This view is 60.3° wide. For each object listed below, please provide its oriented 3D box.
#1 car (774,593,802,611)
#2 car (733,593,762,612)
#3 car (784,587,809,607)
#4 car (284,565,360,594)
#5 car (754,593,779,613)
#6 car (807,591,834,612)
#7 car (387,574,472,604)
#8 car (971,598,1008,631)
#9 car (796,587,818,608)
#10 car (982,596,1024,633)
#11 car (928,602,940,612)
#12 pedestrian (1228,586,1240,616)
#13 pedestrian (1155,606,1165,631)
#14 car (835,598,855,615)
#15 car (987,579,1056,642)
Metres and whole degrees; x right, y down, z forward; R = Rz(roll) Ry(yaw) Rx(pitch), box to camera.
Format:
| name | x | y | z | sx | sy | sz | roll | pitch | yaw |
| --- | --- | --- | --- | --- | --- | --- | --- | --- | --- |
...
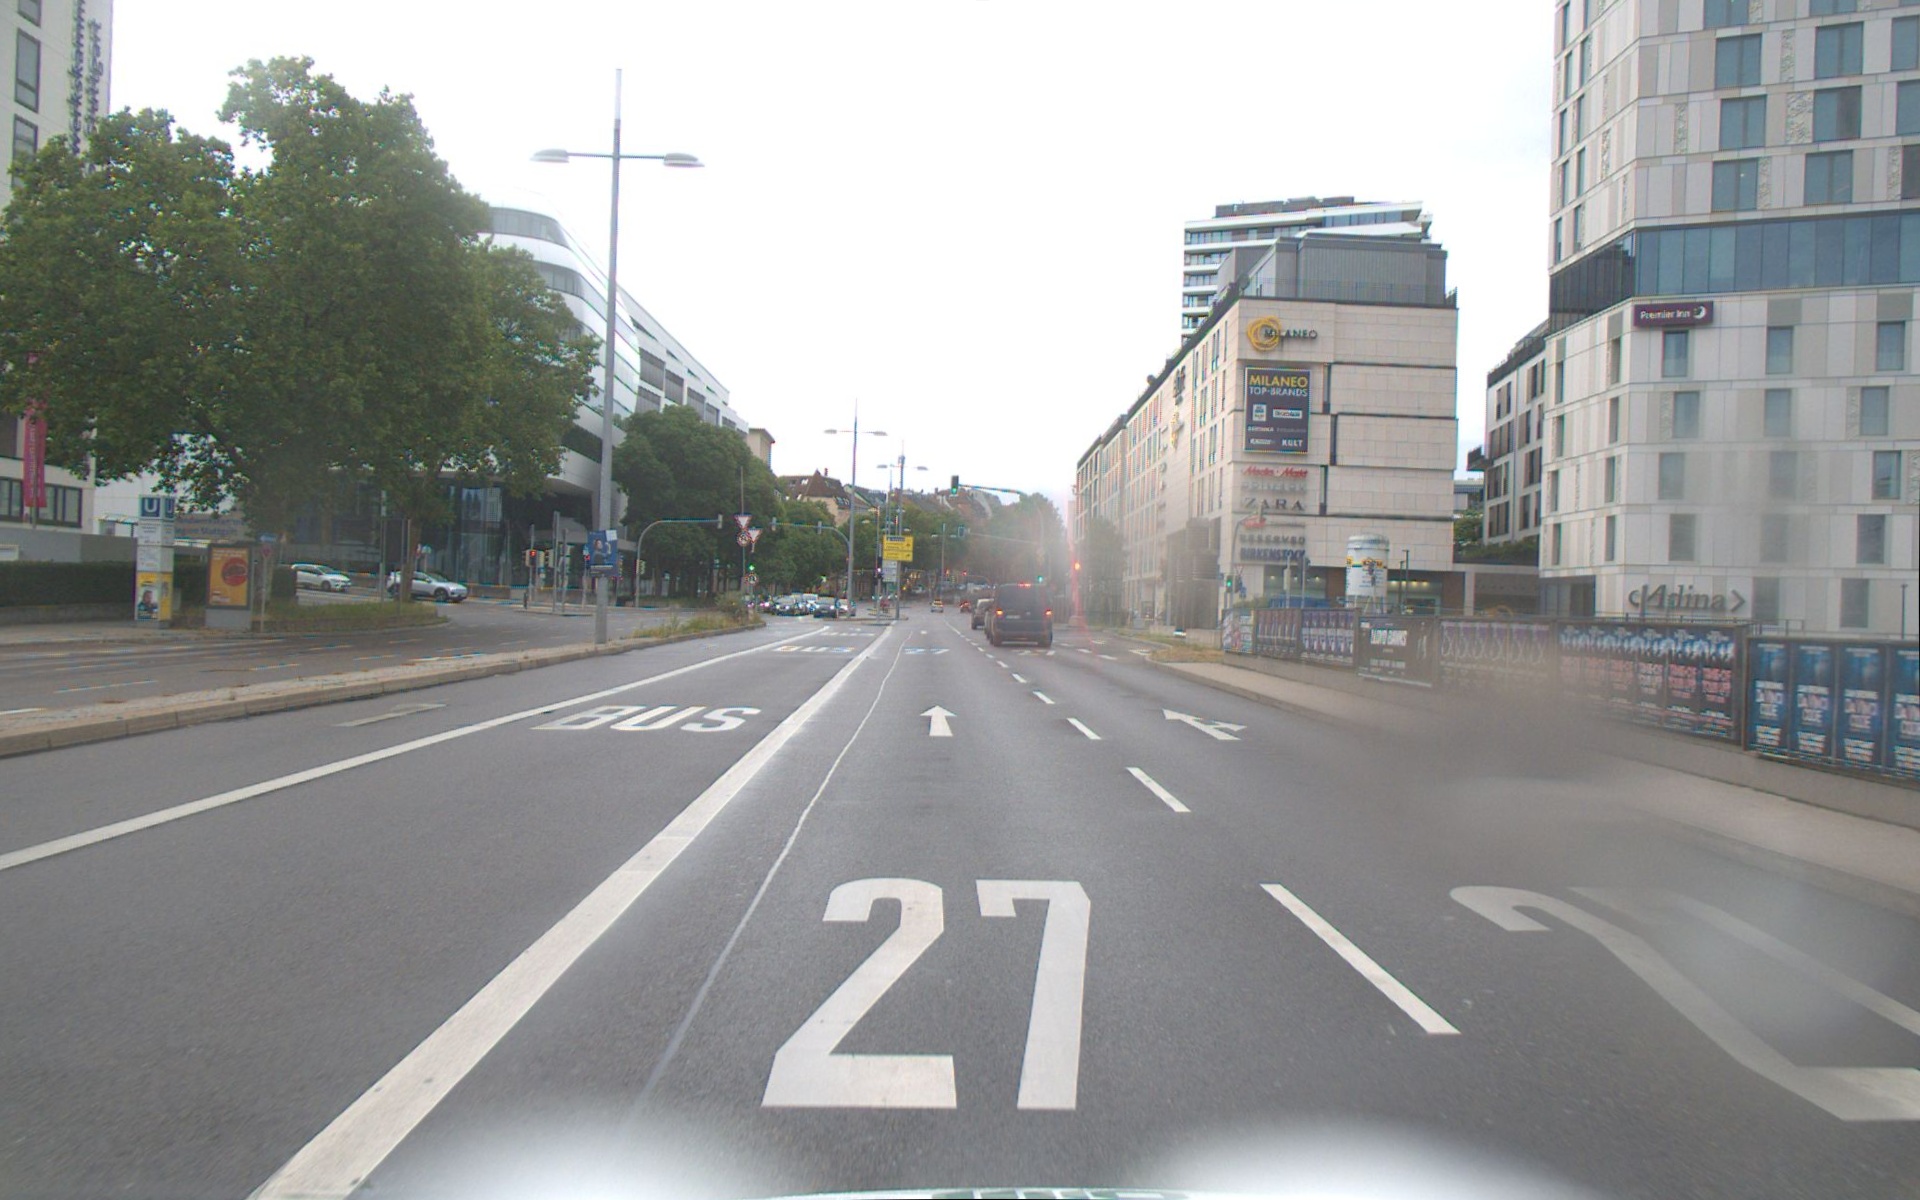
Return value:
| name | x | y | z | sx | sy | sz | roll | pitch | yaw |
| --- | --- | --- | --- | --- | --- | --- | --- | --- | --- |
| car | -13.041 | 0.170 | 125.506 | 1.708 | 1.279 | 3.539 | 2 | 0 | -1 |
| car | -16.042 | 0.191 | 125.035 | 1.708 | 1.352 | 4.224 | 1 | -1 | -1 |
| car | -13.116 | -0.223 | 132.732 | 1.708 | 1.586 | 3.539 | 1 | -1 | -1 |
| car | -38.585 | -1.258 | 100.029 | 3.902 | 1.660 | 1.896 | 1 | -1 | 15 |
| car | -16.148 | 0.277 | 138.342 | 1.708 | 1.586 | 3.539 | 1 | -1 | -1 |
| car | -10.471 | 0.120 | 124.264 | 1.708 | 1.470 | 3.394 | 1 | -1 | -1 |
| car | -31.264 | -0.647 | 97.472 | 4.406 | 1.660 | 1.896 | 1 | -1 | 15 |
| car | 1.443 | 0.709 | 81.657 | 1.704 | 1.558 | 3.813 | 1 | -1 | -1 |
| car | -13.510 | -0.179 | 146.242 | 1.708 | 1.779 | 3.539 | 1 | -1 | -1 |
| car | 1.858 | 0.652 | 72.636 | 1.689 | 1.558 | 3.813 | 1 | -1 | -1 |
| car | -4.000 | 1.072 | 251.275 | 1.705 | 1.558 | 3.813 | 1 | 0 | -2 |
| pedestrian | 16.789 | 0.062 | 101.263 | 0.435 | 1.811 | 0.588 | 1 | -1 | -34 |
| pedestrian | 13.222 | 1.209 | 109.457 | 0.539 | 1.639 | 0.698 | 1 | -1 | -1 |
| car | -10.154 | 0.590 | 146.053 | 1.507 | 1.503 | 3.695 | 1 | -1 | -1 |
| car | 1.969 | 0.294 | 54.281 | 1.991 | 1.915 | 5.041 | -2 | 1 | 0 |
